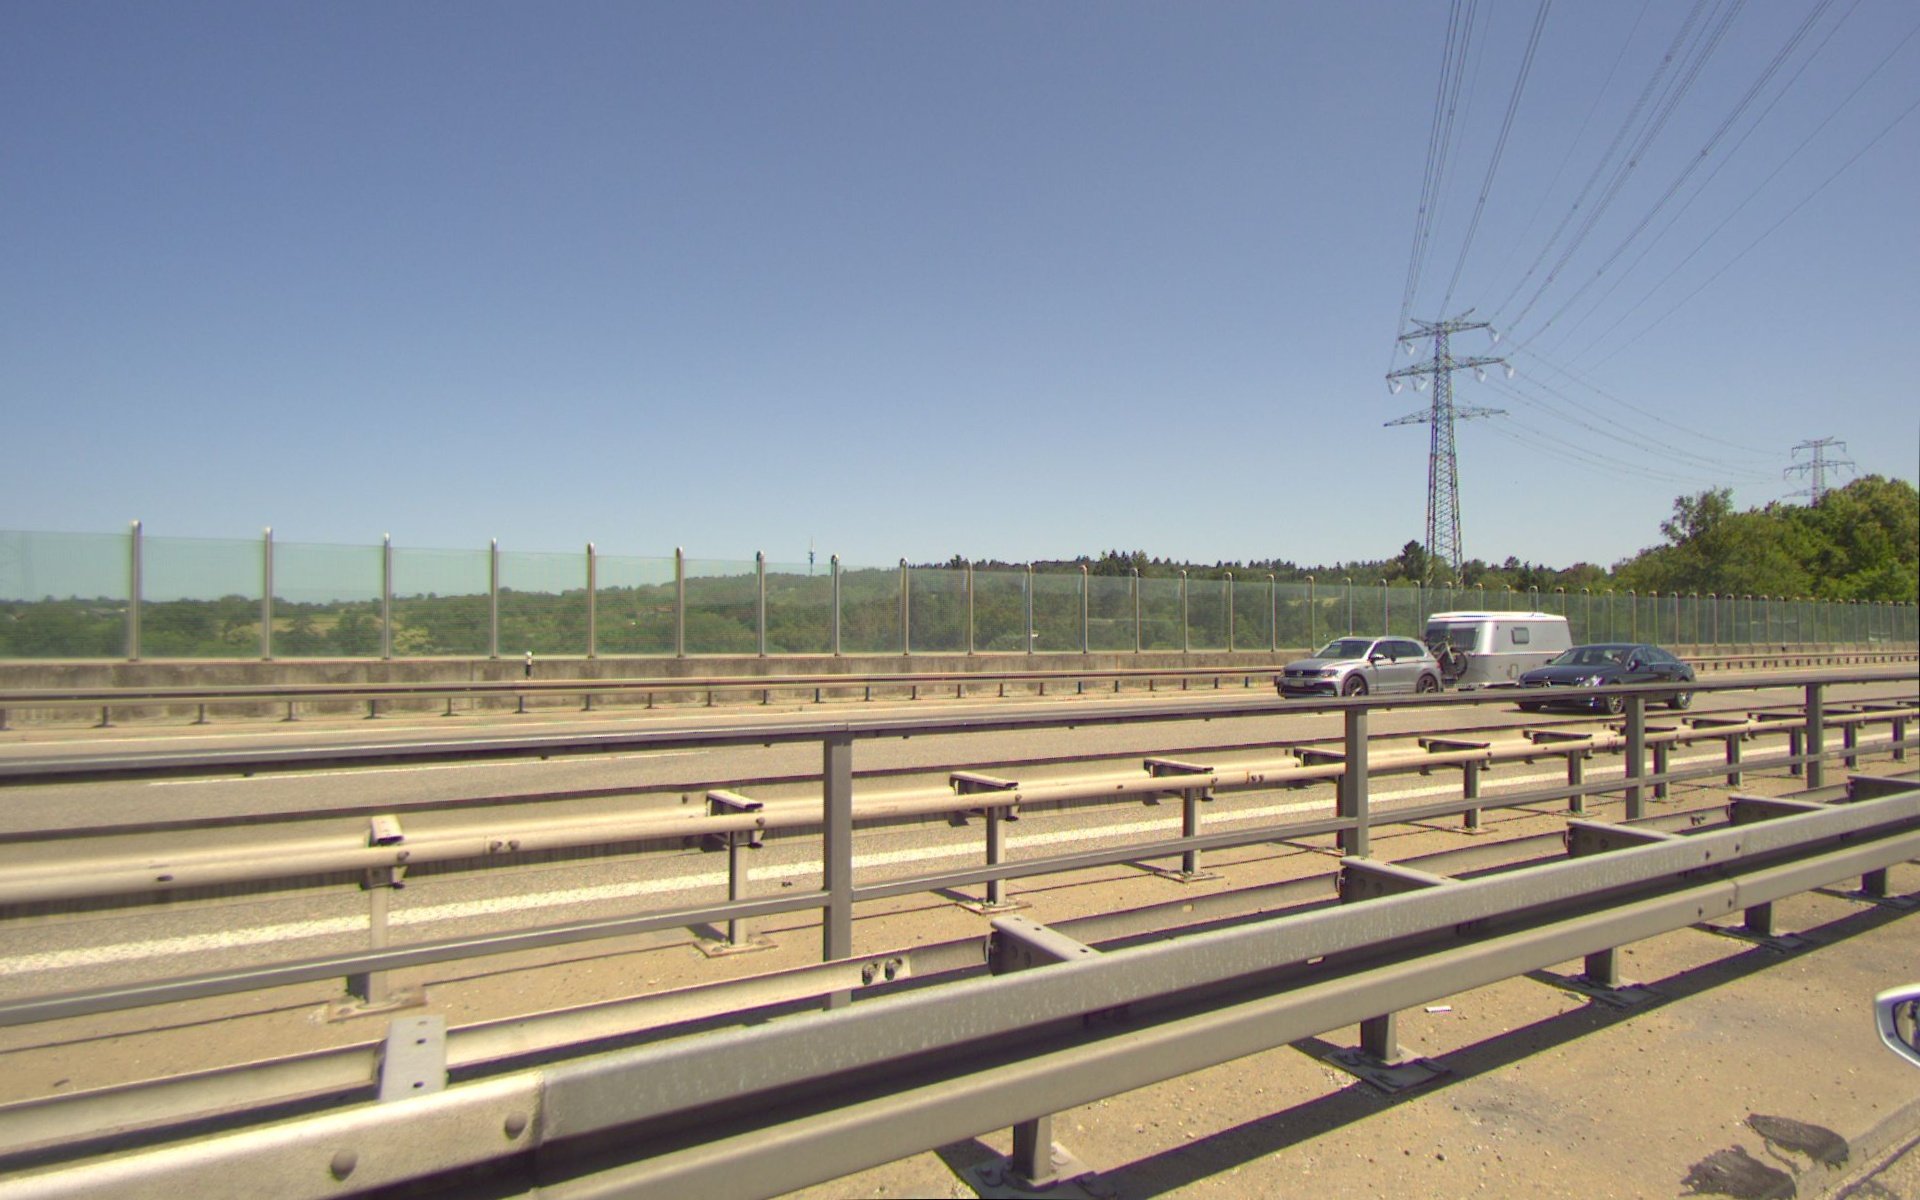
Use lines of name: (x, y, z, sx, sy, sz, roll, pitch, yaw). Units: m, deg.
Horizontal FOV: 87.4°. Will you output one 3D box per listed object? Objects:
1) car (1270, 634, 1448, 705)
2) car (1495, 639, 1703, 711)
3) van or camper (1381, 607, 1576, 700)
car: (9.553, 1.646, 23.979, 4.153, 1.565, 1.847, 2, -4, -32)
car: (13.747, 1.576, 21.564, 4.620, 1.415, 1.847, 2, -4, -30)
van or camper: (13.734, 1.422, 26.517, 5.474, 2.240, 1.984, 2, -4, -31)
